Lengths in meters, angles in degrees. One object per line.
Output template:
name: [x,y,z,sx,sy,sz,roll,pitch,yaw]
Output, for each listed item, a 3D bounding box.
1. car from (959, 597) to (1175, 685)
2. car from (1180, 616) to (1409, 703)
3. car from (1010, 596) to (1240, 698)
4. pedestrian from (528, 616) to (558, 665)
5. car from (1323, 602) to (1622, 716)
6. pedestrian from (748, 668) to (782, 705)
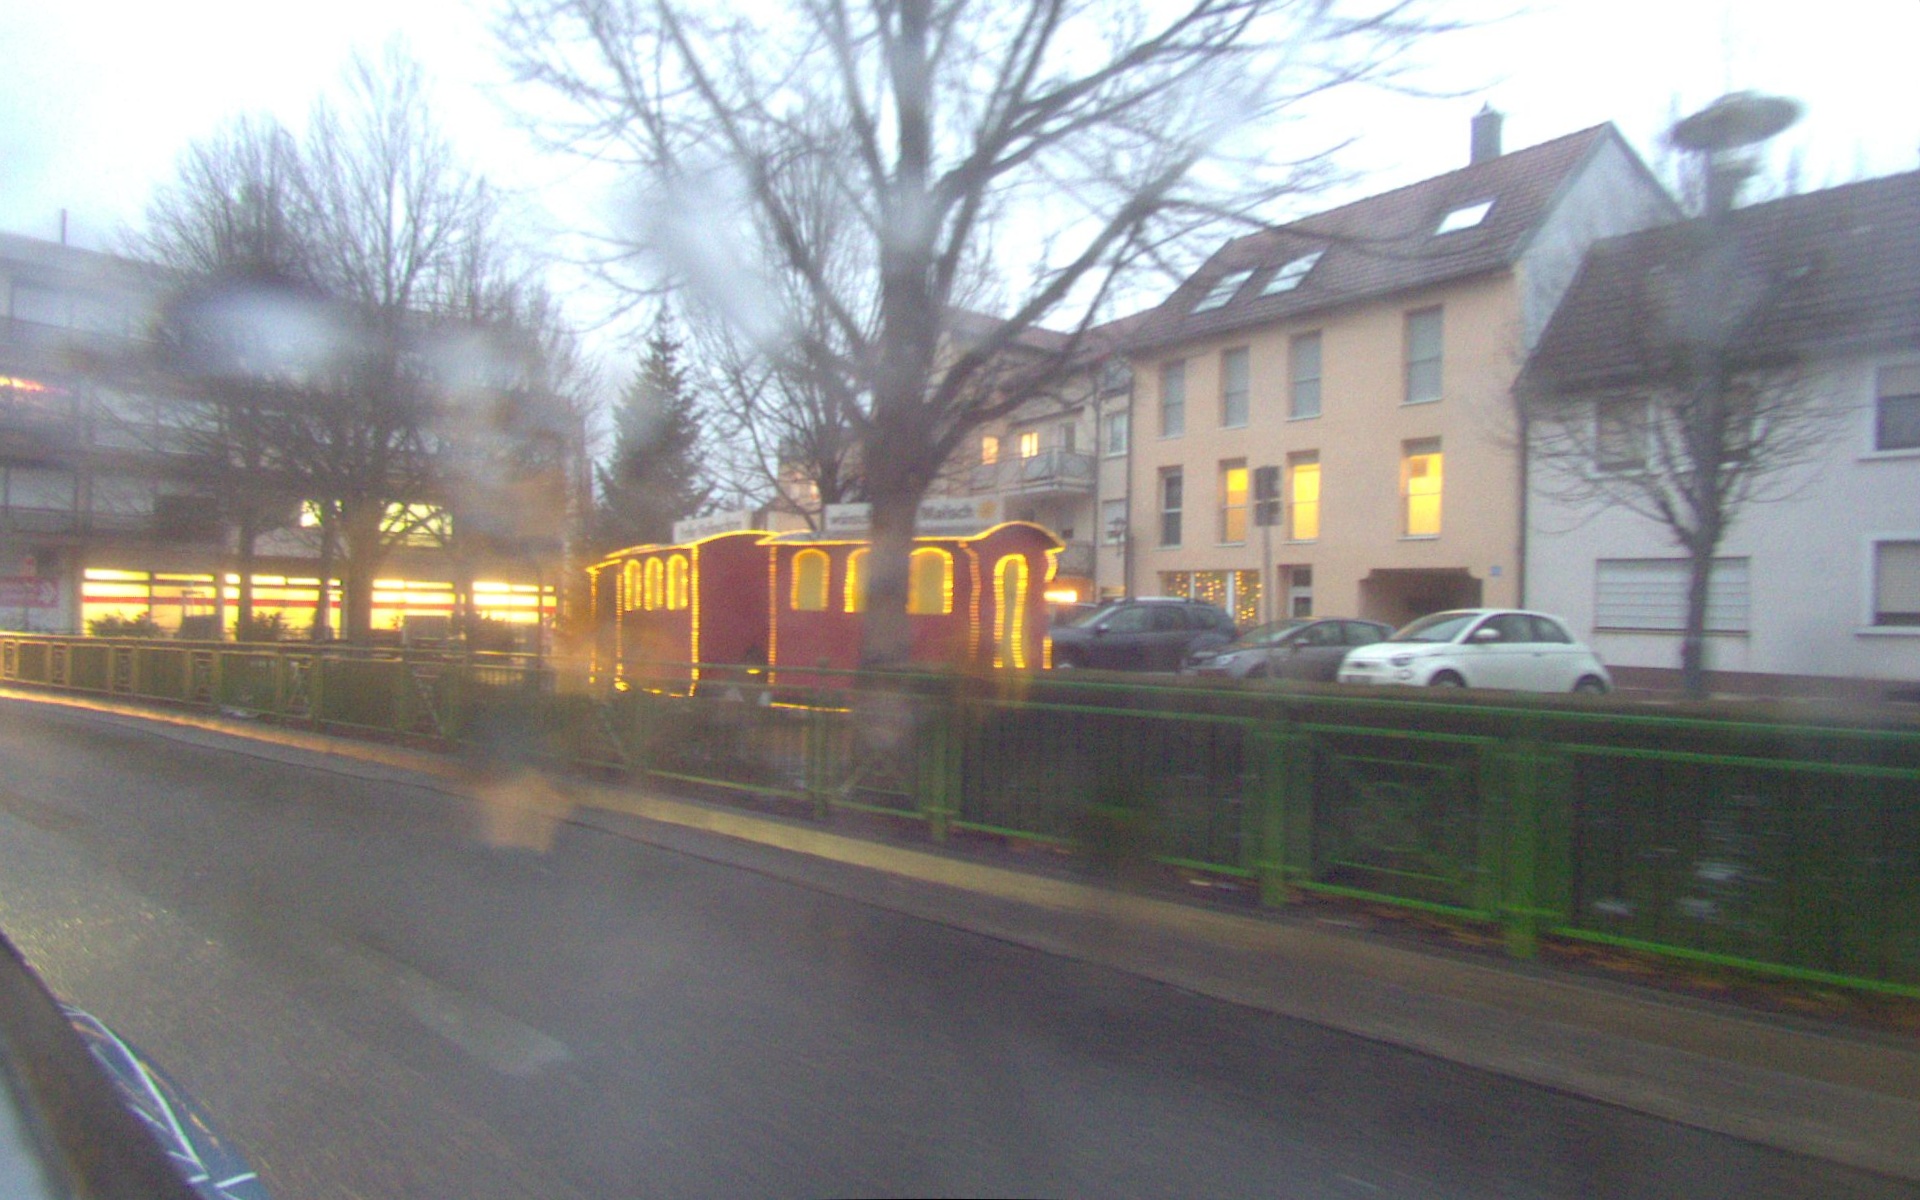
car: [2.091,0.814,20.135,3.933,1.645,1.639,1,-2,-13]
car: [5.216,0.888,15.917,3.004,1.229,1.615,0,-1,-16]
car: [2.836,0.767,17.583,3.573,1.624,1.615,0,-1,-16]
pedestrian: [-11.746,1.143,28.495,0.612,1.349,0.568,0,-1,-42]
car: [7.009,0.755,13.946,3.427,1.420,1.615,0,-1,-14]
pedestrian: [-2.717,1.200,14.068,0.361,0.488,0.291,0,-3,41]
